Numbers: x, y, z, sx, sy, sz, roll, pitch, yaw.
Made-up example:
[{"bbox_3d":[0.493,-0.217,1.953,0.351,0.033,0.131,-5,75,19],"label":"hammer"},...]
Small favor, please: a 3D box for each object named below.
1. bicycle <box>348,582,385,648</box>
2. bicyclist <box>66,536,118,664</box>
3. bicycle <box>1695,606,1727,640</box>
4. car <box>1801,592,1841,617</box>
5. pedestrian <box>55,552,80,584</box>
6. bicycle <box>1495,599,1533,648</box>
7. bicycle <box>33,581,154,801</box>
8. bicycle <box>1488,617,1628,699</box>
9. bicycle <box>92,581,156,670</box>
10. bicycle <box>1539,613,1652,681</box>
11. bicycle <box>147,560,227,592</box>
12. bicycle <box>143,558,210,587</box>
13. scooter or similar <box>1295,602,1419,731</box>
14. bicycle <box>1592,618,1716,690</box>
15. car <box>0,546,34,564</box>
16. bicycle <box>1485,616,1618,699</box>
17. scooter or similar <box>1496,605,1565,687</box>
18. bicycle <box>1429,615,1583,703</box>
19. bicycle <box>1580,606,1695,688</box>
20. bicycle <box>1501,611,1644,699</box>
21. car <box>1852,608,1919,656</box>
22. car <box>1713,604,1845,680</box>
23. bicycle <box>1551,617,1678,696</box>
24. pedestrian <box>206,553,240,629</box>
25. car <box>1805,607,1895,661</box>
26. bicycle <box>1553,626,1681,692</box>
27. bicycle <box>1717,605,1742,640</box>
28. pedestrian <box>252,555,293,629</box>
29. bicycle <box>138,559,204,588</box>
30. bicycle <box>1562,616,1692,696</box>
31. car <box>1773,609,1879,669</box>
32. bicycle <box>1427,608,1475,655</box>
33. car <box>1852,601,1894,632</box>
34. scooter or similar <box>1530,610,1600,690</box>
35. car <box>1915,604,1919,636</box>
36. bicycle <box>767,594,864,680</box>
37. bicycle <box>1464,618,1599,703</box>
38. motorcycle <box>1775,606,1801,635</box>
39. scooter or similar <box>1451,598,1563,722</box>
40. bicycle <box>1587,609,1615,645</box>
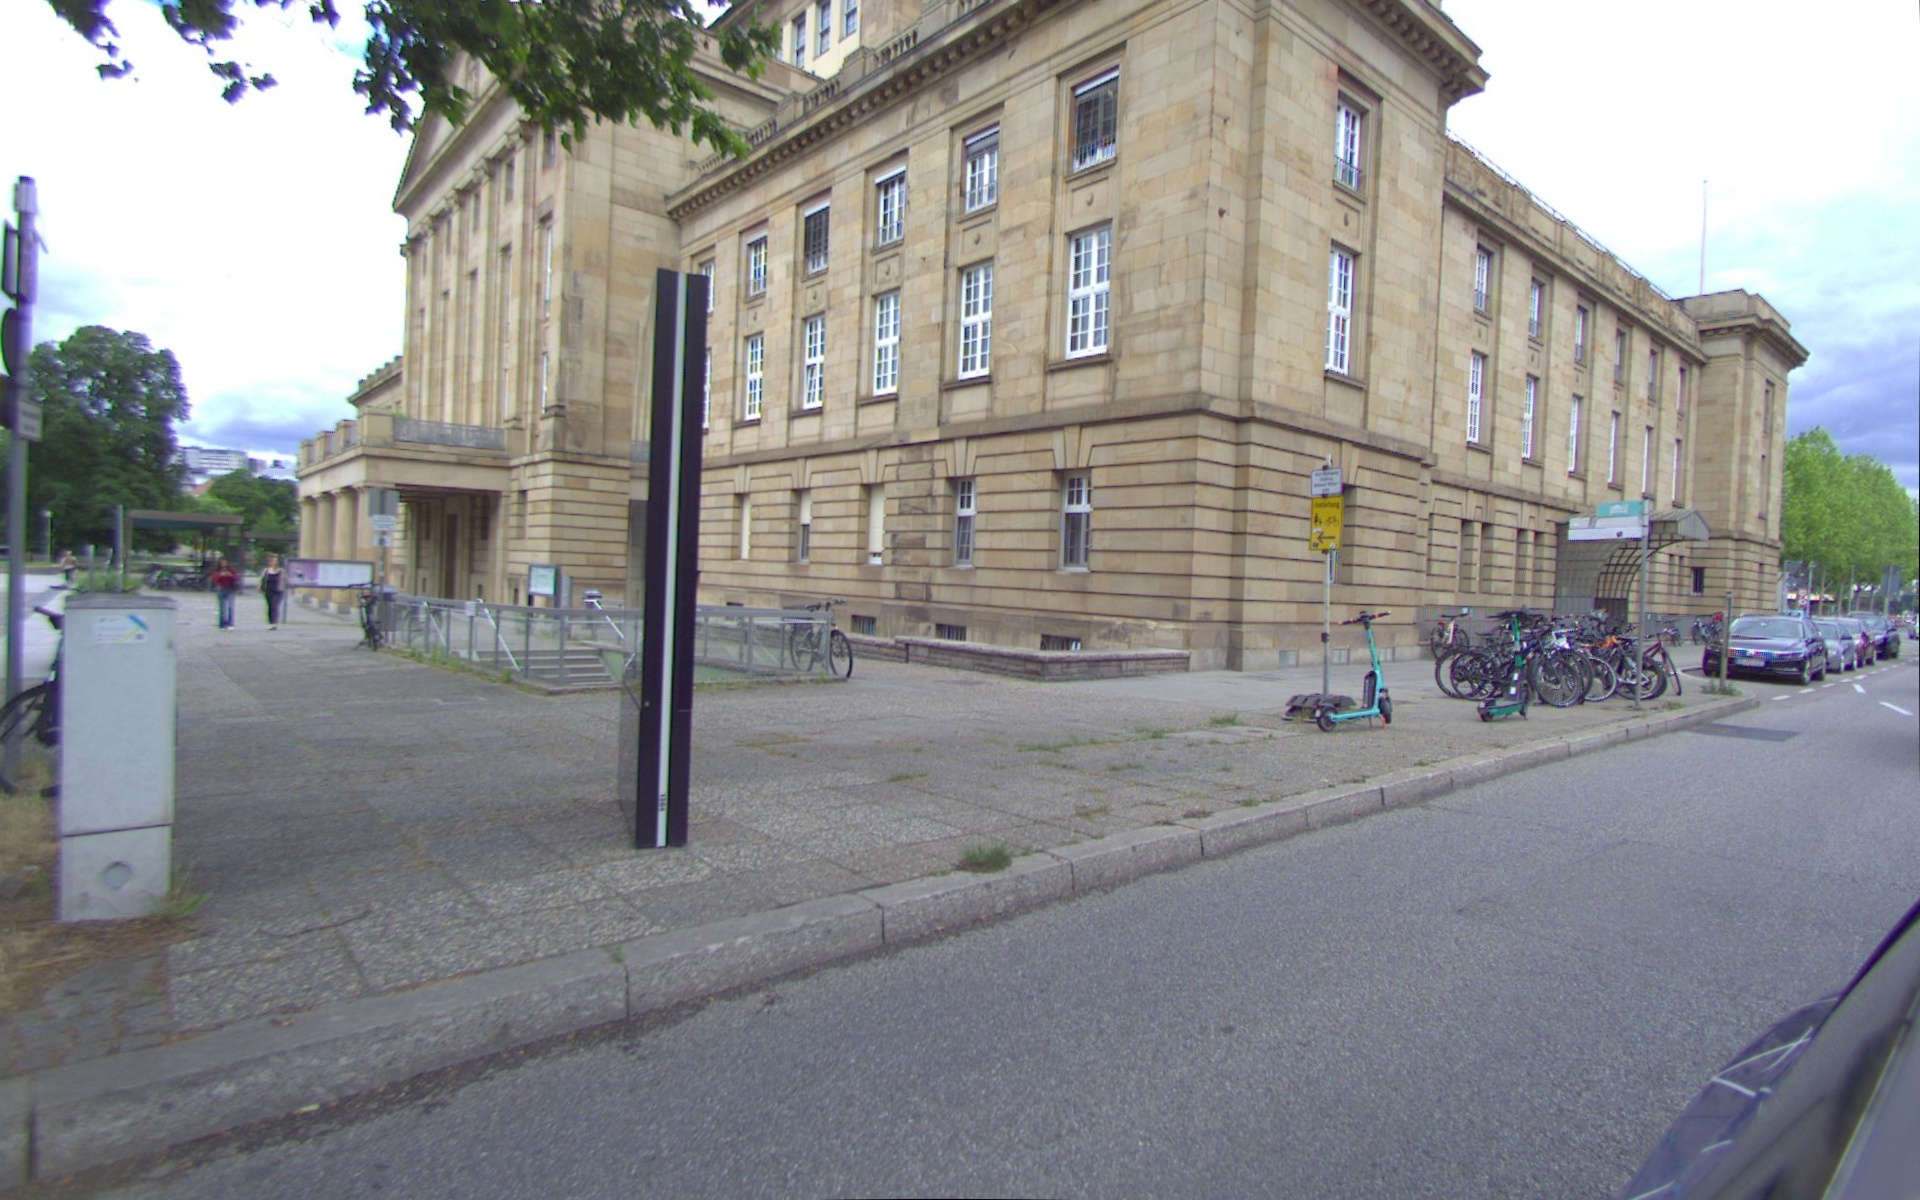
[{"bbox_3d":[-10.687,0.236,18.194,0.418,1.114,2.173,1,0,-34],"label":"bicycle"},{"bbox_3d":[-12.229,-0.010,14.262,0.436,1.770,0.468,2,1,42],"label":"bicyclist"},{"bbox_3d":[28.277,0.844,38.086,1.882,1.232,0.556,1,1,-42],"label":"bicycle"},{"bbox_3d":[54.938,0.273,64.557,3.445,1.549,1.581,1,1,-44],"label":"car"},{"bbox_3d":[-51.481,-1.839,58.401,0.539,1.828,0.939,0,-1,22],"label":"pedestrian"},{"bbox_3d":[13.985,0.585,25.546,1.510,1.198,0.276,1,0,-39],"label":"bicycle"},{"bbox_3d":[-5.681,0.516,6.692,0.483,1.236,1.790,1,1,-37],"label":"bicycle"},{"bbox_3d":[8.875,0.824,15.085,0.563,1.105,1.735,1,0,-32],"label":"bicycle"},{"bbox_3d":[-11.841,0.328,14.319,1.748,1.146,0.437,3,1,42],"label":"bicycle"},{"bbox_3d":[10.518,0.758,16.811,0.427,1.041,1.570,1,0,-29],"label":"bicycle"},{"bbox_3d":[-36.130,-1.098,47.335,2.852,1.443,0.959,0,0,-45],"label":"bicycle"},{"bbox_3d":[-37.855,-1.309,48.908,2.533,1.362,0.726,0,0,-41],"label":"bicycle"},{"bbox_3d":[4.229,0.674,10.764,1.405,1.297,0.433,1,0,-30],"label":"scooter or similar"},{"bbox_3d":[11.611,0.883,16.994,0.573,1.088,1.671,1,1,-21],"label":"bicycle"},{"bbox_3d":[-98.845,-4.644,104.299,4.822,1.761,2.077,0,0,-38],"label":"car"},{"bbox_3d":[8.593,0.803,14.785,0.373,1.105,1.736,1,0,-28],"label":"bicycle"},{"bbox_3d":[9.476,0.747,16.802,1.126,1.295,0.564,1,0,-35],"label":"scooter or similar"},{"bbox_3d":[7.644,0.795,14.264,0.652,1.105,1.866,1,0,-28],"label":"bicycle"},{"bbox_3d":[11.239,0.750,16.831,0.532,1.272,1.550,1,0,-22],"label":"bicycle"},{"bbox_3d":[9.251,0.799,15.336,0.594,1.224,1.759,1,0,-43],"label":"bicycle"},{"bbox_3d":[33.642,1.137,36.550,3.642,1.571,1.549,1,2,-40],"label":"car"},{"bbox_3d":[18.754,0.899,23.106,4.253,1.504,1.790,1,1,-44],"label":"car"},{"bbox_3d":[10.227,0.864,15.858,1.597,1.144,0.466,1,0,24],"label":"bicycle"},{"bbox_3d":[-16.815,-0.205,23.080,0.559,1.716,0.431,1,1,-42],"label":"pedestrian"},{"bbox_3d":[27.827,1.021,31.603,3.792,1.473,1.619,1,3,-42],"label":"car"},{"bbox_3d":[10.832,0.949,16.753,0.601,0.928,1.738,1,1,-22],"label":"bicycle"},{"bbox_3d":[29.767,0.872,39.152,1.759,1.304,0.413,1,1,-42],"label":"bicycle"},{"bbox_3d":[-16.562,-0.198,24.374,0.692,1.743,0.680,1,1,-42],"label":"pedestrian"},{"bbox_3d":[-39.073,-1.312,50.135,2.533,1.362,0.726,0,0,-41],"label":"bicycle"},{"bbox_3d":[10.163,0.831,15.468,1.597,1.144,0.405,1,0,24],"label":"bicycle"},{"bbox_3d":[23.933,1.026,27.932,3.928,1.443,1.711,1,3,-42],"label":"car"},{"bbox_3d":[11.180,0.703,23.020,1.929,1.010,0.240,0,1,-42],"label":"bicycle"},{"bbox_3d":[56.367,1.024,62.477,1.805,1.760,4.414,2,0,43],"label":"car"},{"bbox_3d":[9.769,0.793,16.333,1.286,1.239,0.427,0,0,-31],"label":"scooter or similar"},{"bbox_3d":[62.359,1.321,64.460,3.933,2.039,1.996,1,1,-44],"label":"car"},{"bbox_3d":[-2.169,0.508,14.946,0.382,1.139,2.015,1,1,-41],"label":"bicycle"},{"bbox_3d":[8.208,0.839,14.614,0.417,1.105,1.736,1,0,-28],"label":"bicycle"},{"bbox_3d":[37.130,0.918,45.395,1.887,1.257,0.456,1,2,-38],"label":"motorcycle"},{"bbox_3d":[6.404,0.655,11.828,1.389,1.348,0.726,1,0,-42],"label":"scooter or similar"},{"bbox_3d":[19.000,0.793,29.981,1.827,1.042,0.222,1,0,-42],"label":"bicycle"}]
